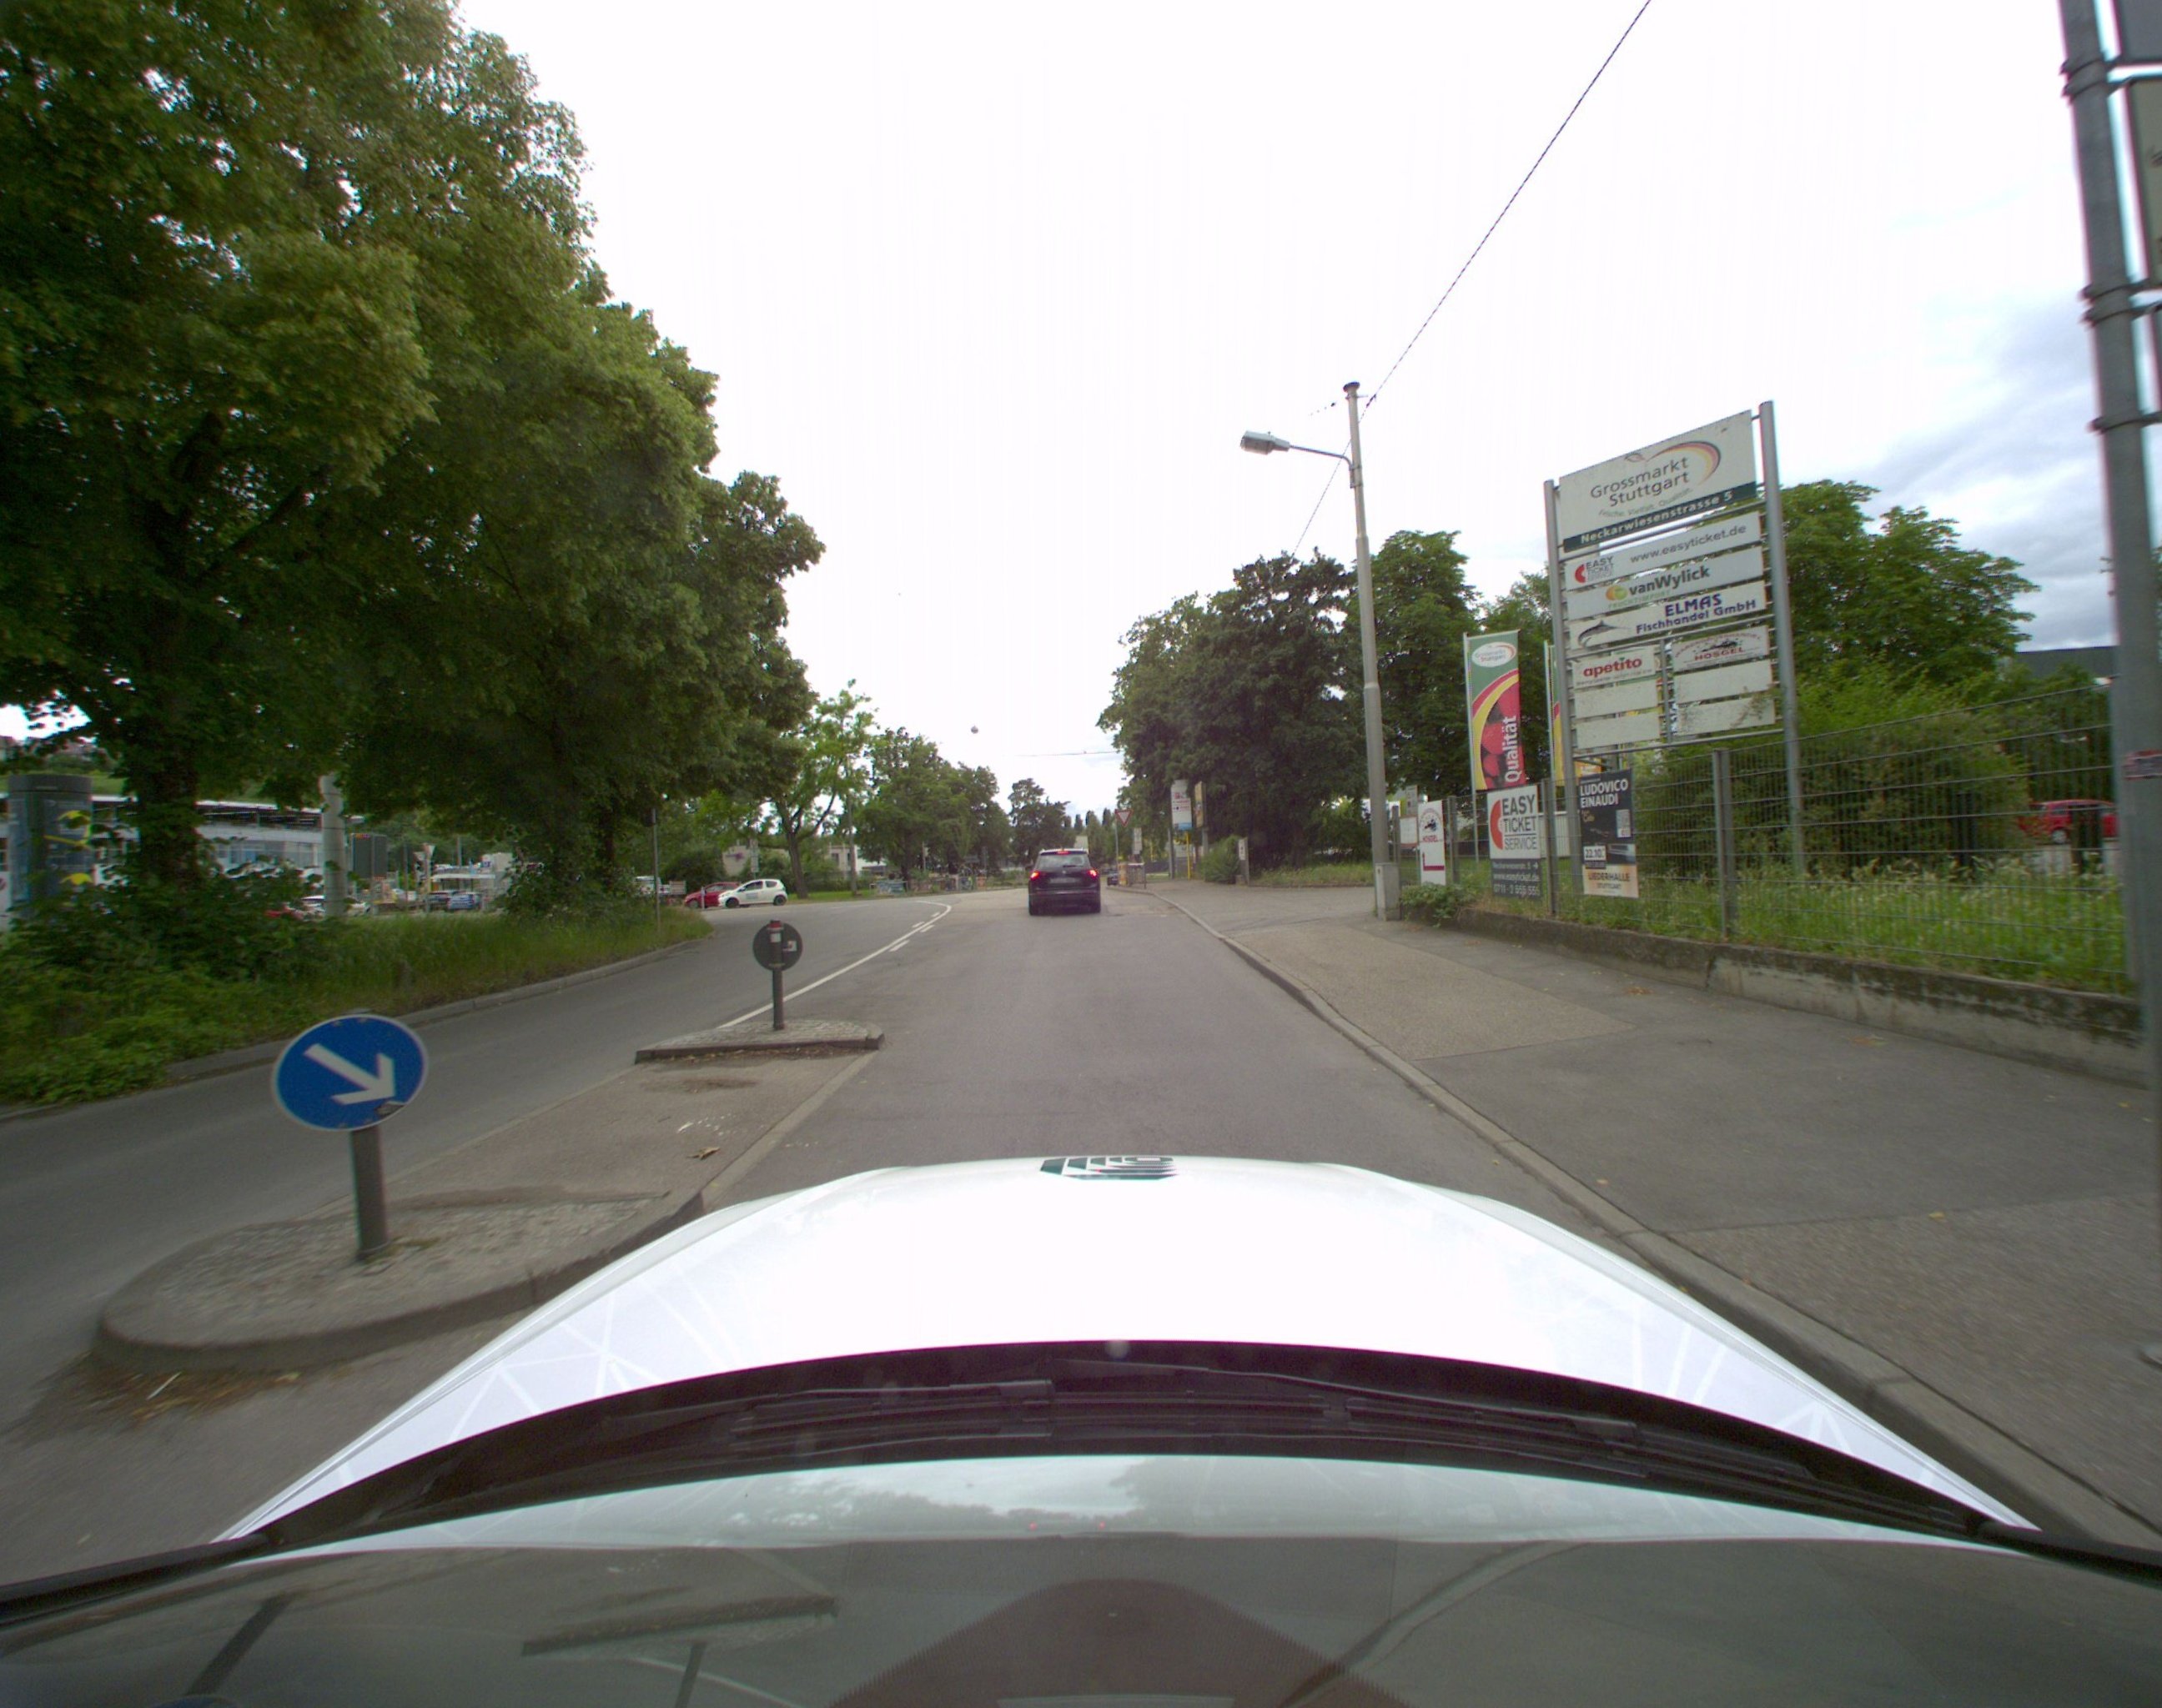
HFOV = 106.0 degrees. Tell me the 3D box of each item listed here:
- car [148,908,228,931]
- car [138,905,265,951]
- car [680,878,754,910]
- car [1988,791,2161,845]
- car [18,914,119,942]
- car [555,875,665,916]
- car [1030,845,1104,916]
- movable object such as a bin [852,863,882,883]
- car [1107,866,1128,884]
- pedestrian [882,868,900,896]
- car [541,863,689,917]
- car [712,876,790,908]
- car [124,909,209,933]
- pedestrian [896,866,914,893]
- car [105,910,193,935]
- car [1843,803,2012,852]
[{"bbox_3d":[-82.484,6.053,75.322,4.510,1.692,1.983,-3,-1,-25],"label":"car"},{"bbox_3d":[-31.627,2.627,29.381,2.894,1.349,1.544,-3,-1,-40],"label":"car"},{"bbox_3d":[-20.410,2.226,45.729,3.392,1.478,1.636,-3,-1,-9],"label":"car"},{"bbox_3d":[36.878,-1.304,30.296,3.927,1.684,1.833,-3,-1,5],"label":"car"},{"bbox_3d":[-79.450,5.786,64.010,4.510,1.692,1.983,-3,-1,-25],"label":"car"},{"bbox_3d":[-26.293,2.294,45.592,4.954,1.942,2.051,-3,-1,5],"label":"car"},{"bbox_3d":[-0.434,0.615,21.351,1.735,1.618,3.637,-2,0,-3],"label":"car"},{"bbox_3d":[-23.404,2.109,89.193,1.976,2.013,2.412,-3,-1,22],"label":"movable object such as a bin"},{"bbox_3d":[3.558,2.025,79.517,1.650,1.574,3.835,-4,-1,6],"label":"car"},{"bbox_3d":[-12.222,1.781,52.368,0.734,1.742,0.732,-4,-1,41],"label":"pedestrian"},{"bbox_3d":[-24.005,1.811,42.223,6.063,2.387,2.389,-3,-1,-6],"label":"car"},{"bbox_3d":[-17.388,1.989,42.975,3.626,1.409,1.725,-3,-1,-28],"label":"car"},{"bbox_3d":[-81.771,5.975,72.900,4.510,1.692,1.983,-3,-1,-25],"label":"car"},{"bbox_3d":[-11.513,1.665,53.228,0.734,1.742,0.732,-4,-1,41],"label":"pedestrian"},{"bbox_3d":[-80.968,5.928,70.845,4.510,1.692,1.983,-3,-1,-25],"label":"car"},{"bbox_3d":[31.828,-0.959,30.747,4.208,1.544,1.833,-3,-1,5],"label":"car"}]
